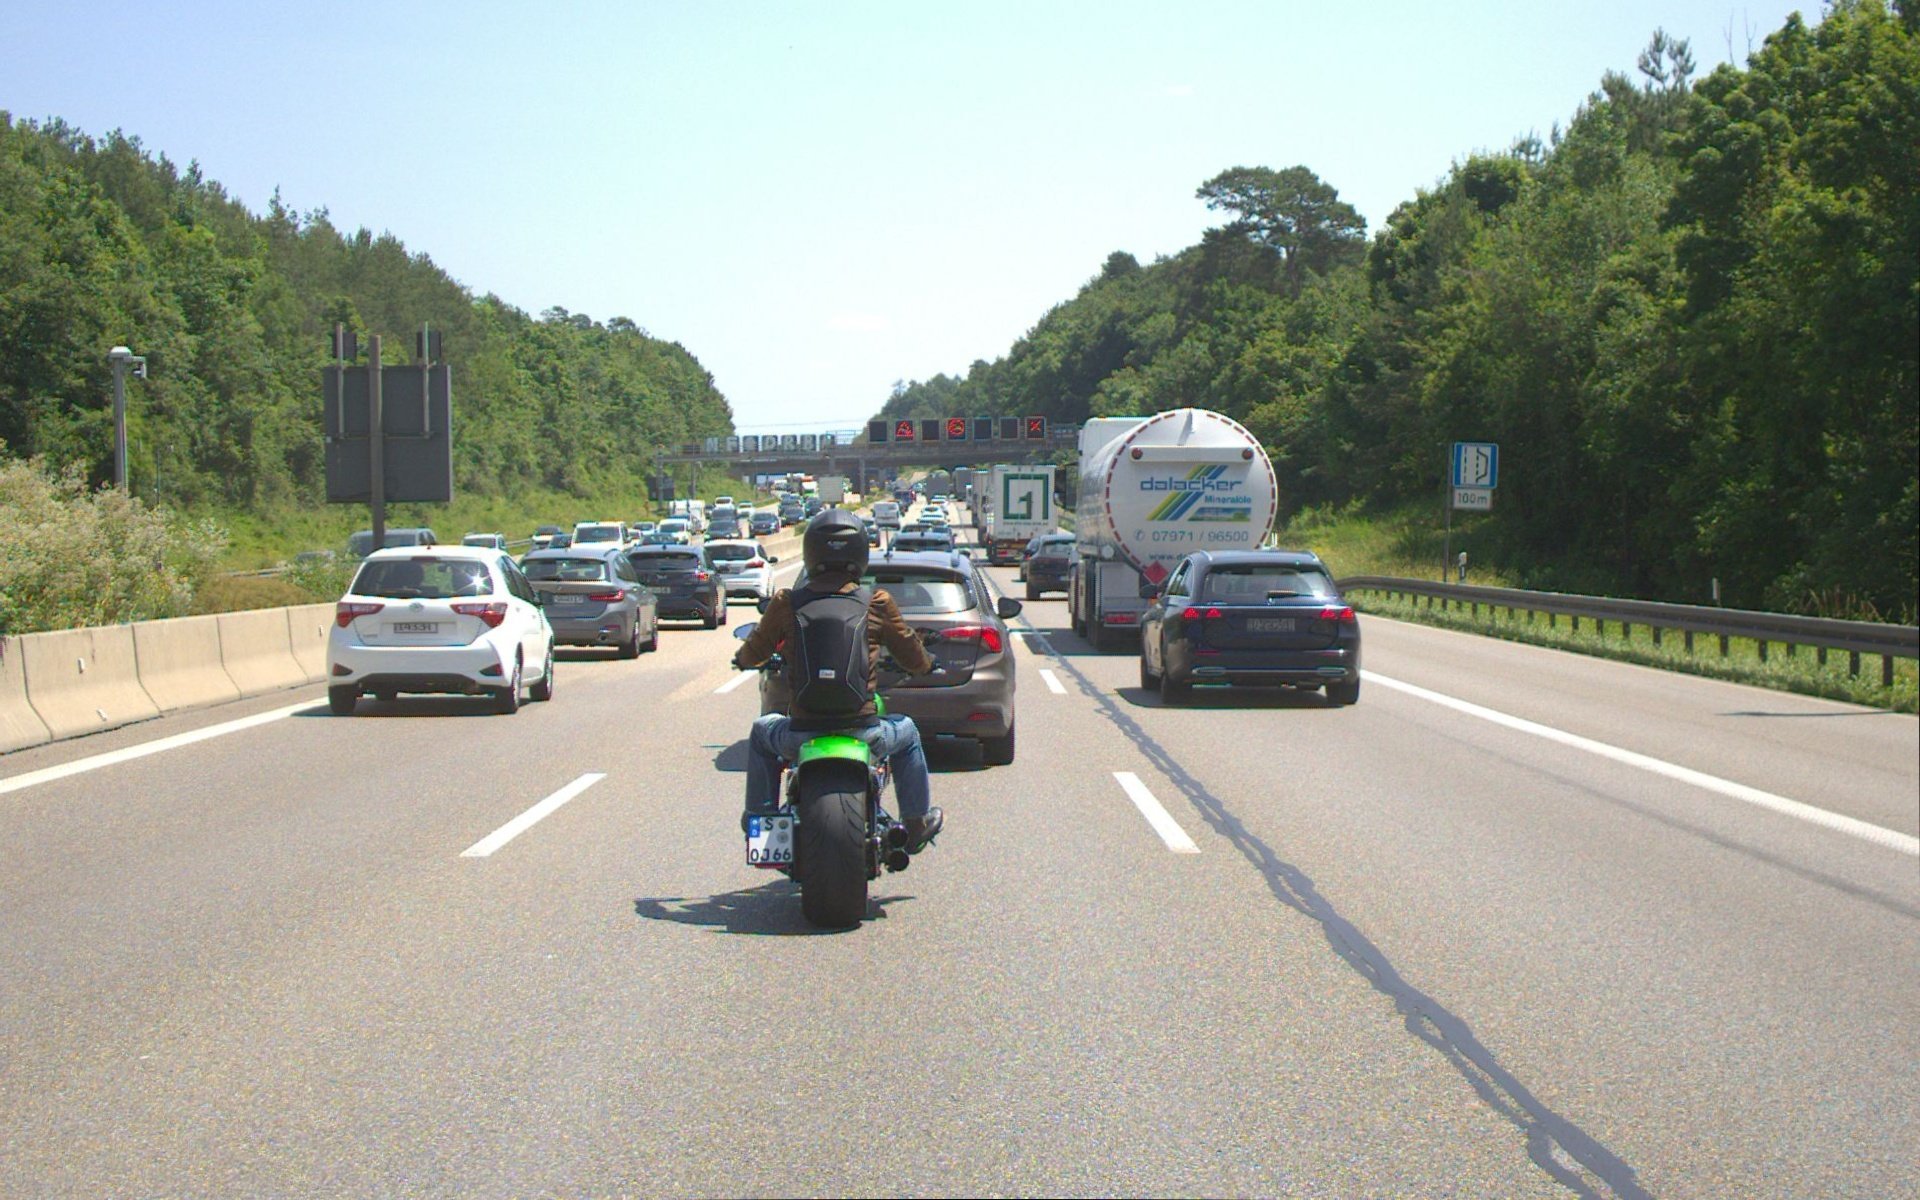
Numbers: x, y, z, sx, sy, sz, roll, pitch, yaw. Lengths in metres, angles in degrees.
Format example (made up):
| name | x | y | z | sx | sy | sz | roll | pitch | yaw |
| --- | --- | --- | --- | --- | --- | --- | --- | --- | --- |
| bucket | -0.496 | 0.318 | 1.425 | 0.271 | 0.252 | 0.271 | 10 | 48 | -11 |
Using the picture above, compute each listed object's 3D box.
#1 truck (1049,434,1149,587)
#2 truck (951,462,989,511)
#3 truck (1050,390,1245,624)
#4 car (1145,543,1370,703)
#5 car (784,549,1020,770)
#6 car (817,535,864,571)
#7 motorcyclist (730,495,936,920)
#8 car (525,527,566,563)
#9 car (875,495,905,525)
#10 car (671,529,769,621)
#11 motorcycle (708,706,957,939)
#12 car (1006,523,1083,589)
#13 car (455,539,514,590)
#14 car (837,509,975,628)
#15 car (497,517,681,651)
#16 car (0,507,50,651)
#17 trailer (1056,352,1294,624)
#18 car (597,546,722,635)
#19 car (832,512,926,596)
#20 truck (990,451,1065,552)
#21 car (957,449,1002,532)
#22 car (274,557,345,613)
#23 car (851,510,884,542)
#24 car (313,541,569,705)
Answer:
| name | x | y | z | sx | sy | sz | roll | pitch | yaw |
| --- | --- | --- | --- | --- | --- | --- | --- | --- | --- |
| truck | 4.196 | -2.707 | 105.896 | 2.388 | 4.449 | 10.870 | 0 | 1 | -1 |
| truck | 0.721 | -8.445 | 256.821 | 2.696 | 3.394 | 10.478 | -1 | 0 | 0 |
| truck | 3.039 | -1.445 | 57.412 | 2.828 | 3.659 | 6.429 | 1 | 0 | 0 |
| car | 2.871 | 0.229 | 34.013 | 1.792 | 1.453 | 4.624 | 1 | 0 | 0 |
| car | -0.392 | 0.379 | 24.681 | 1.541 | 1.445 | 4.000 | 1 | 0 | 0 |
| car | -4.890 | -1.928 | 141.240 | 1.764 | 1.437 | 4.000 | 0 | 1 | 0 |
| motorcyclist | -0.509 | 0.431 | 14.168 | 0.799 | 1.682 | 1.016 | 1 | -1 | 0 |
| car | -23.509 | -3.123 | 195.120 | 1.993 | 2.007 | 4.001 | 0 | 1 | -2 |
| car | -4.929 | -6.340 | 242.081 | 1.993 | 2.007 | 4.000 | -1 | 0 | 0 |
| car | -5.437 | -0.546 | 78.419 | 1.993 | 2.007 | 4.000 | 1 | 0 | -1 |
| motorcycle | -0.489 | 0.879 | 14.169 | 0.936 | 0.790 | 2.299 | 1 | 0 | 0 |
| car | 2.067 | -1.072 | 84.777 | 1.776 | 1.522 | 4.000 | 1 | 0 | 0 |
| car | -19.335 | -1.464 | 140.001 | 1.993 | 2.007 | 4.001 | 0 | 1 | -2 |
| car | -0.820 | -0.450 | 51.864 | 1.993 | 1.705 | 4.000 | 1 | 0 | -1 |
| car | -4.878 | -0.190 | 45.742 | 1.993 | 1.678 | 4.330 | 1 | 0 | 0 |
| car | -14.350 | -0.309 | 48.287 | 1.993 | 2.007 | 4.272 | 0 | 1 | 0 |
| trailer | 3.066 | -1.487 | 51.965 | 2.828 | 3.659 | 10.732 | 1 | 0 | 0 |
| car | -5.160 | -0.141 | 59.404 | 1.993 | 1.459 | 4.000 | 1 | 0 | -3 |
| car | -1.774 | -0.989 | 75.891 | 1.993 | 1.769 | 4.000 | 1 | 0 | -1 |
| truck | 2.781 | -3.954 | 139.944 | 2.854 | 3.808 | 7.187 | 1 | 0 | 2 |
| car | 0.975 | -5.598 | 177.292 | 2.167 | 3.879 | 9.330 | 1 | 0 | 0 |
| car | -23.962 | -0.581 | 126.776 | 1.993 | 2.007 | 4.001 | 0 | 1 | -2 |
| car | -4.955 | -3.957 | 183.925 | 1.660 | 1.594 | 4.000 | 0 | 0 | 0 |
| car | -4.732 | 0.182 | 31.849 | 1.776 | 1.406 | 4.000 | 1 | 1 | 0 |
